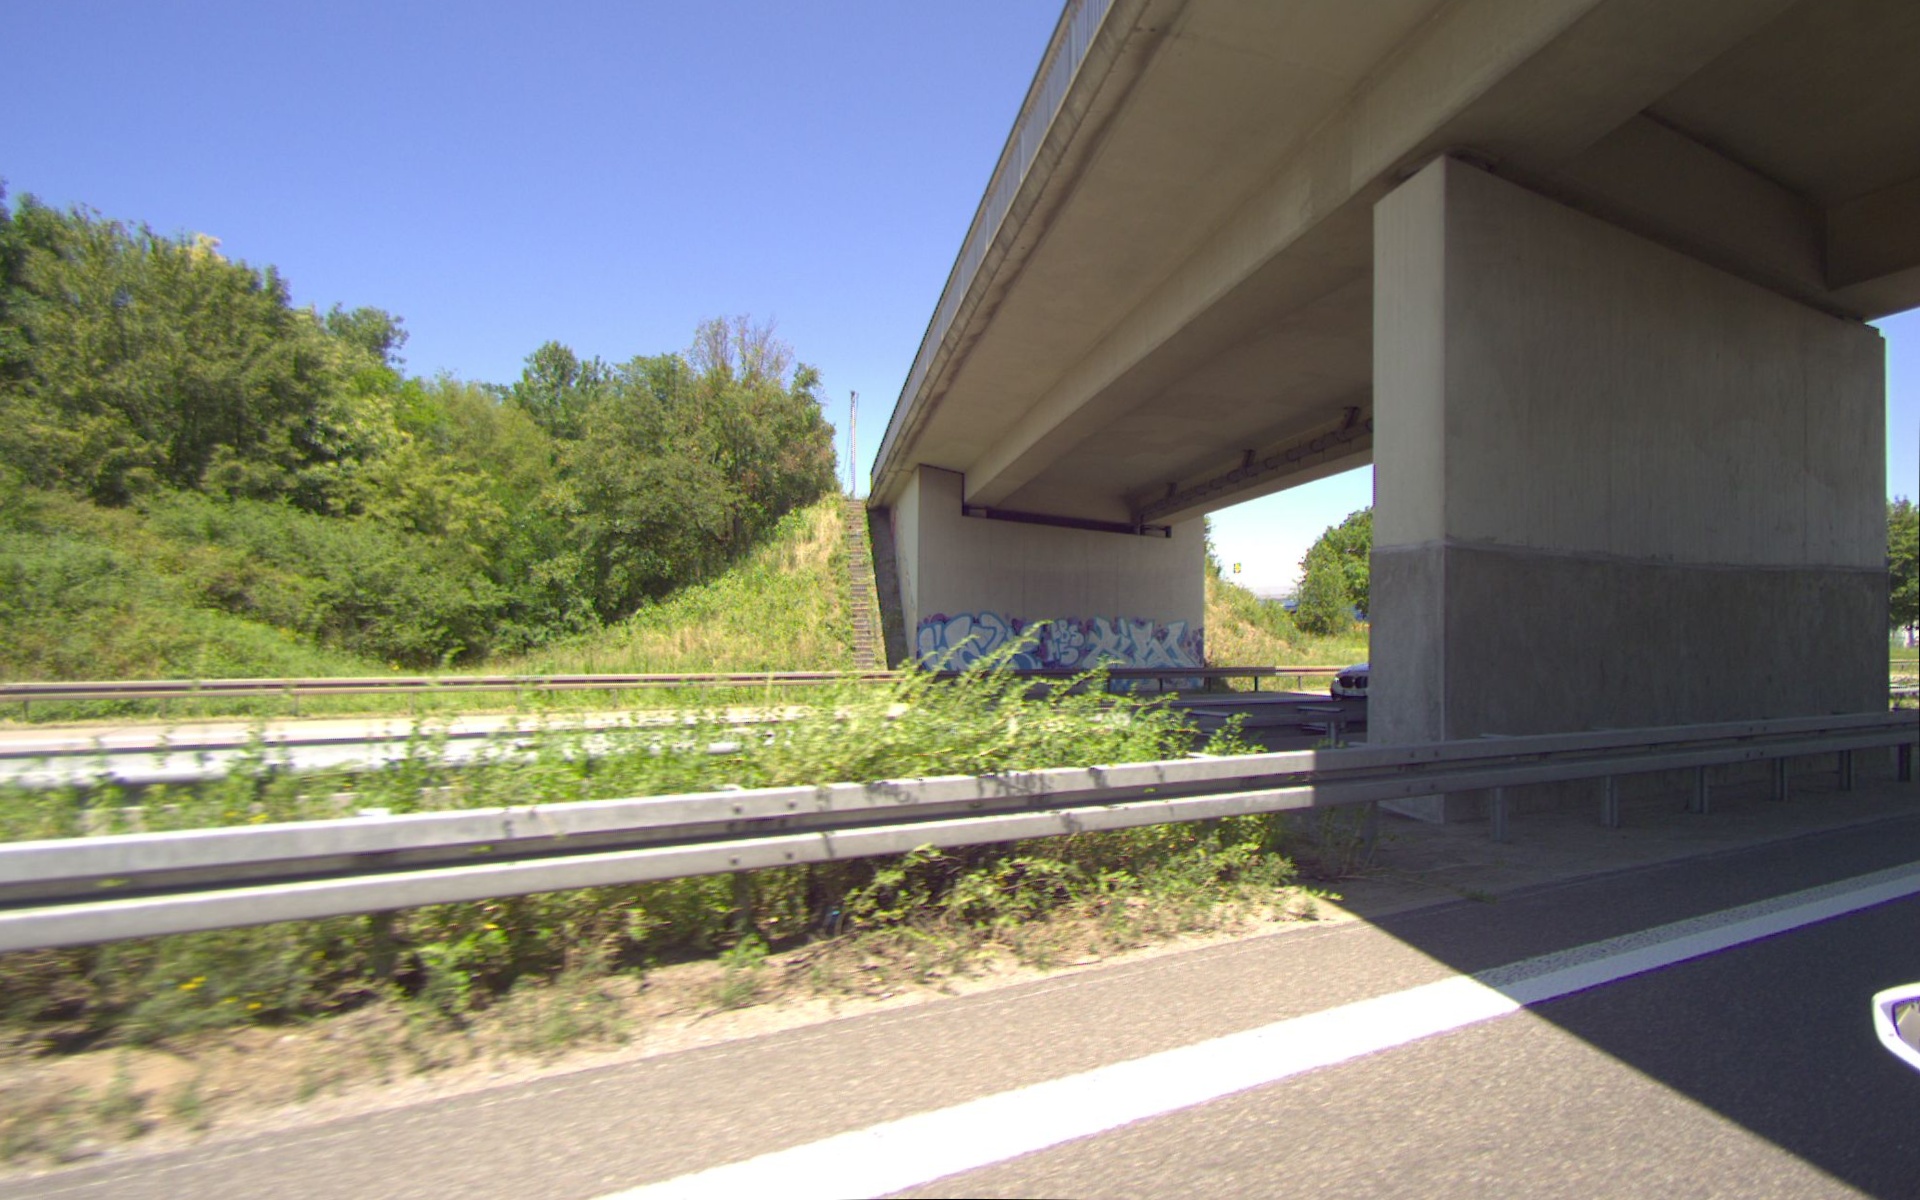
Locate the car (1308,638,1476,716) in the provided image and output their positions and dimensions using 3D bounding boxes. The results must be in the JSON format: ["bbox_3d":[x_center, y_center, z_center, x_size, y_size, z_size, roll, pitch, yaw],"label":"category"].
[{"bbox_3d":[8.825,1.525,20.493,3.127,1.405,1.509,2,0,-28],"label":"car"}]
